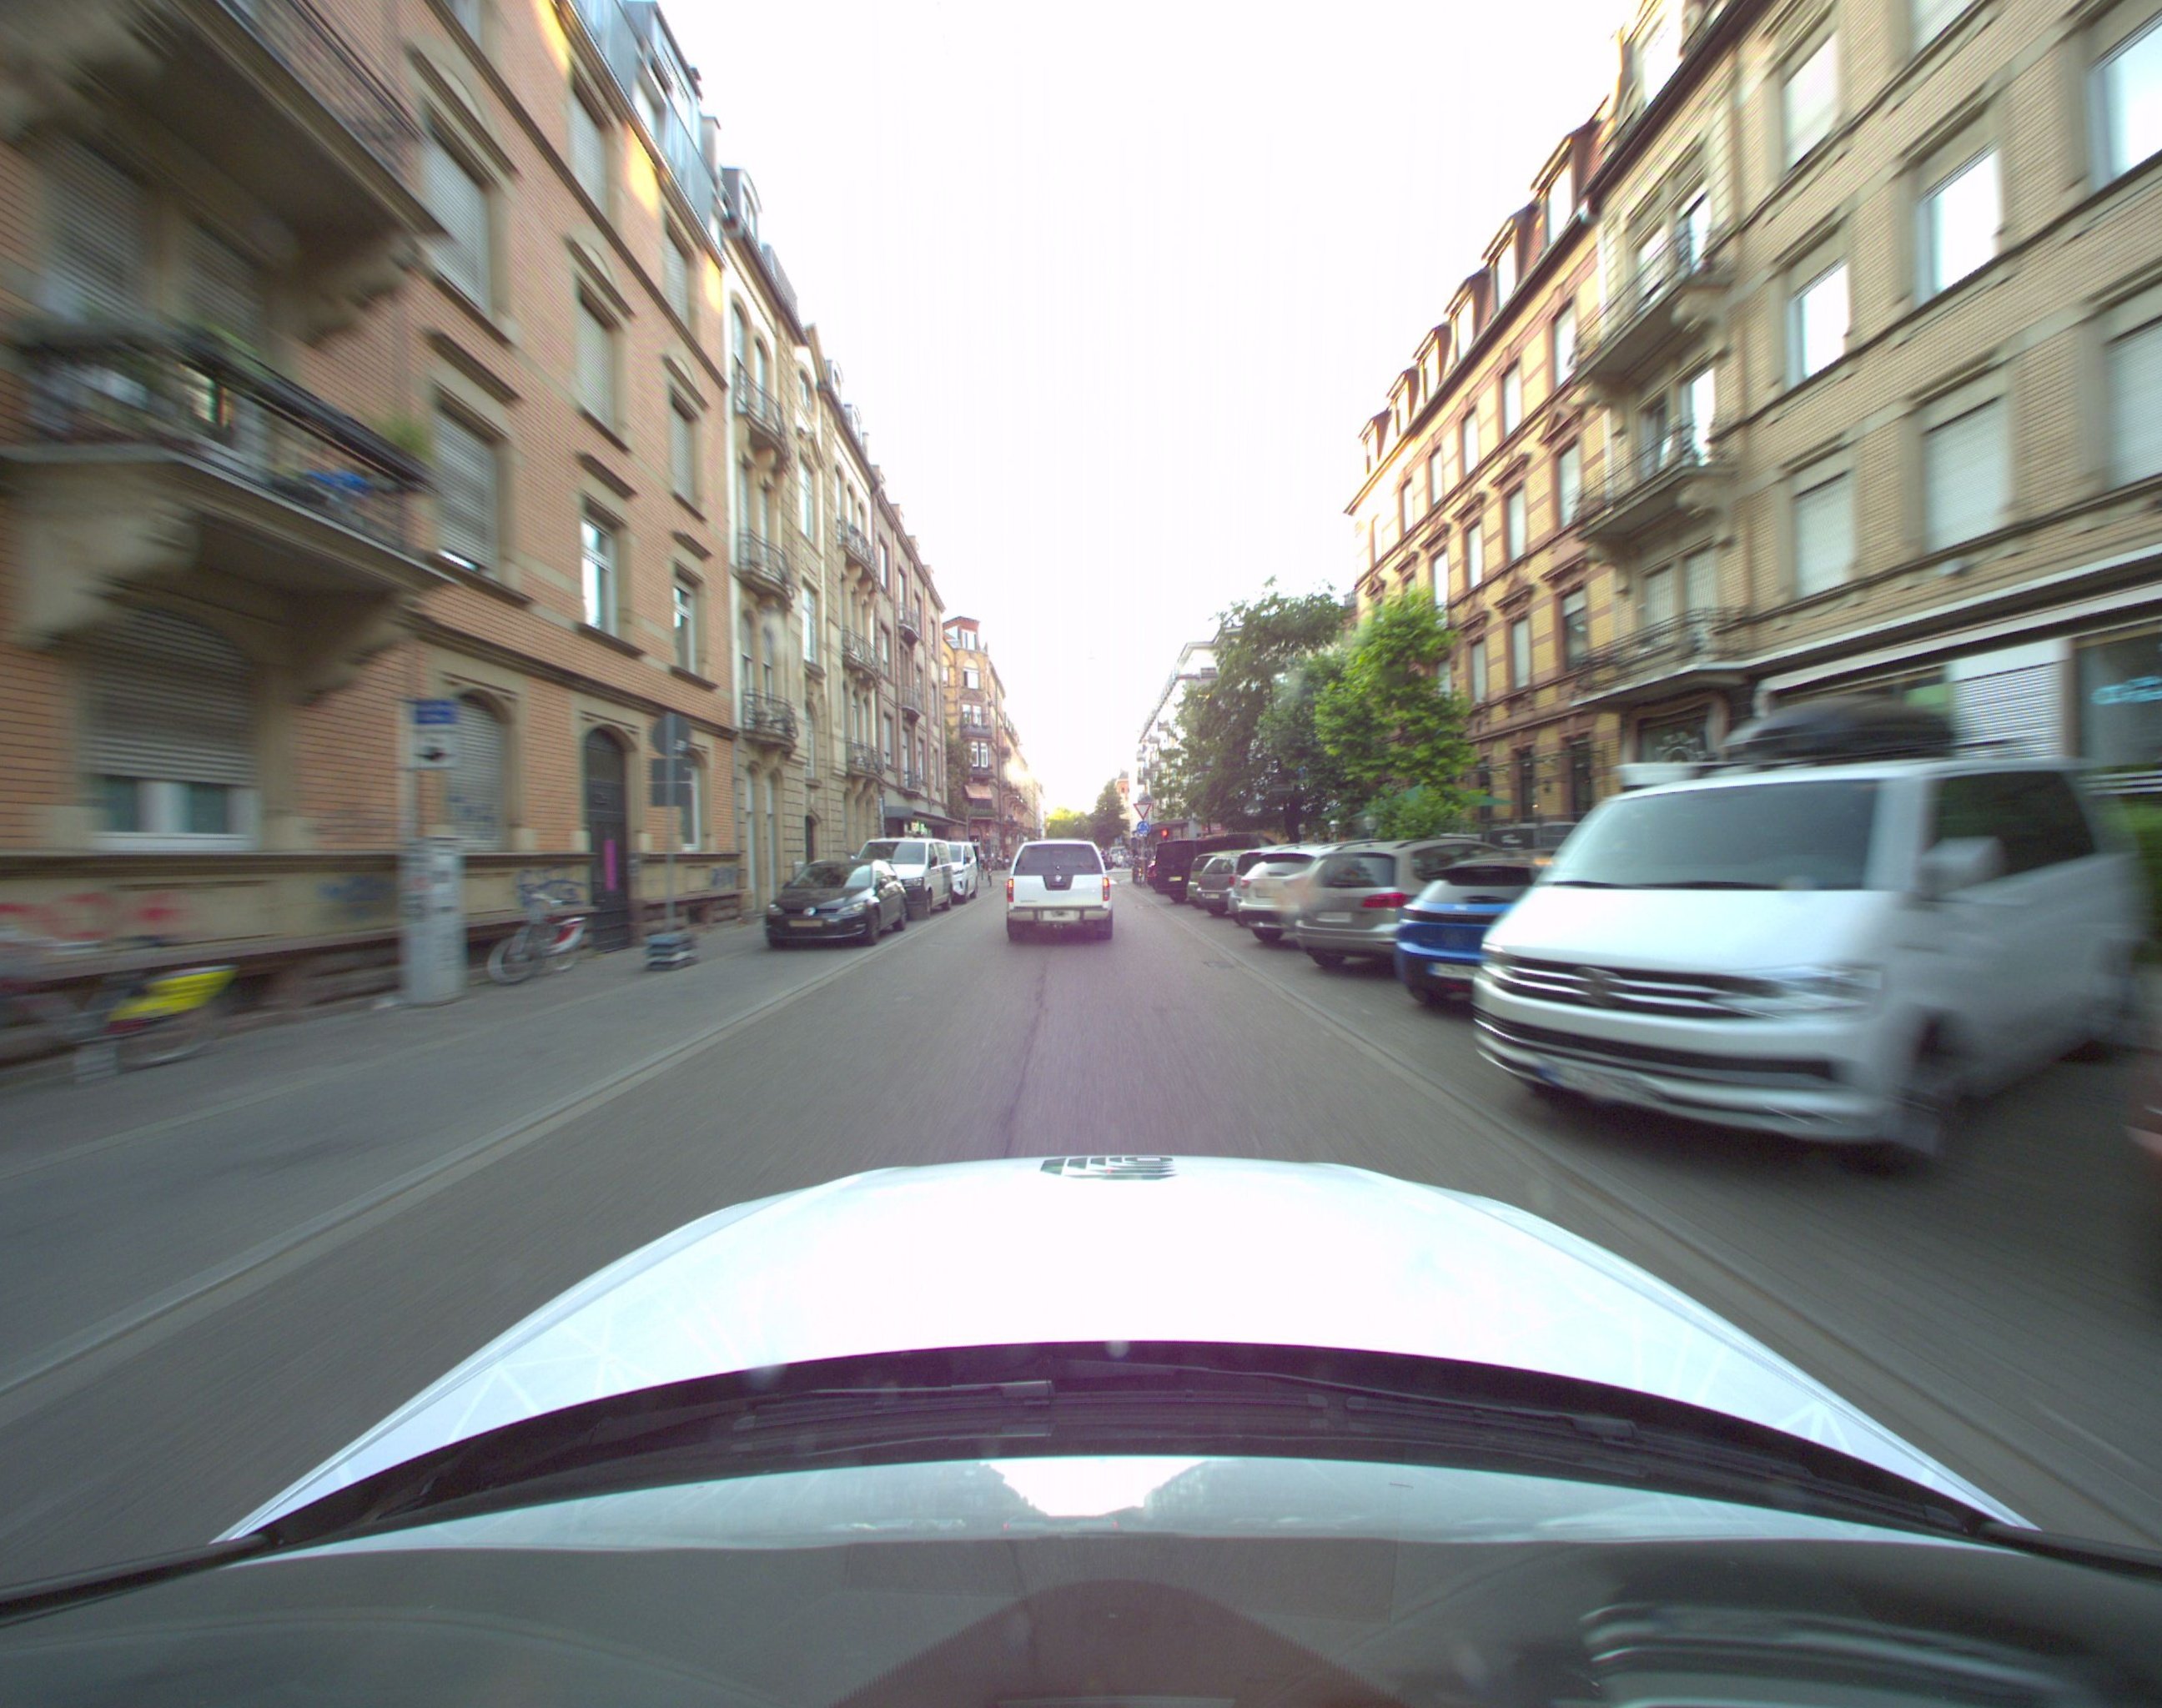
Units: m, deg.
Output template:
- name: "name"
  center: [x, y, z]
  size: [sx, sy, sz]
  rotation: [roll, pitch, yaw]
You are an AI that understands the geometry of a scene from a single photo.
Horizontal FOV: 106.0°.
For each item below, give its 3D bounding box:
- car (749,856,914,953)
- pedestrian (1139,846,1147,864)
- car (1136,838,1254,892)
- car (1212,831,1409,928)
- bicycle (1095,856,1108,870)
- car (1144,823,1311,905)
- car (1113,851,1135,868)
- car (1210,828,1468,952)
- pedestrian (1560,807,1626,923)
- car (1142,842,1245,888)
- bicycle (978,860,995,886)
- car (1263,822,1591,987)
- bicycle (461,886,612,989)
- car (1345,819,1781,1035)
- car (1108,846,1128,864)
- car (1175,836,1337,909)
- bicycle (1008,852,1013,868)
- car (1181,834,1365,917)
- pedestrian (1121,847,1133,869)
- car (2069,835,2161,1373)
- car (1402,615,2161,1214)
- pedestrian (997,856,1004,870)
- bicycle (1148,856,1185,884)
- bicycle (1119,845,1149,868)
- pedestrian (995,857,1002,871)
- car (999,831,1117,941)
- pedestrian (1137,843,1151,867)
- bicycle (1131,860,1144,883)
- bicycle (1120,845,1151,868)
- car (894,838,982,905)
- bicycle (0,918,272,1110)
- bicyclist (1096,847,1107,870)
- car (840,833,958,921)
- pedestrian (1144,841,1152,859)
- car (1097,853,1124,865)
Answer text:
- name: "car"
  center: [-4.317, 0.786, 14.801]
  size: [1.832, 1.471, 4.169]
  rotation: [-1, 0, -2]
- name: "pedestrian"
  center: [5.767, 0.069, 75.532]
  size: [0.717, 1.663, 0.702]
  rotation: [0, -1, -1]
- name: "car"
  center: [4.322, 0.387, 30.554]
  size: [4.246, 1.688, 1.911]
  rotation: [-5, 1, -39]
- name: "car"
  center: [4.829, 0.460, 16.895]
  size: [4.130, 1.590, 1.797]
  rotation: [-5, 1, -39]
- name: "bicycle"
  center: [1.725, 0.790, 69.583]
  size: [0.837, 1.171, 1.931]
  rotation: [0, -1, -7]
- name: "car"
  center: [4.650, 0.239, 25.293]
  size: [5.465, 2.072, 1.911]
  rotation: [-5, 1, -39]
- name: "car"
  center: [4.132, 0.516, 78.241]
  size: [1.829, 1.542, 3.998]
  rotation: [0, -1, -1]
- name: "car"
  center: [4.381, 0.512, 13.676]
  size: [4.124, 1.590, 1.800]
  rotation: [-5, 1, -32]
- name: "pedestrian"
  center: [7.591, 0.163, 12.101]
  size: [0.619, 1.681, 0.657]
  rotation: [0, -1, 11]
- name: "car"
  center: [4.715, 0.431, 33.898]
  size: [4.064, 1.627, 1.676]
  rotation: [-4, 2, -33]
- name: "bicycle"
  center: [-4.271, 0.839, 36.985]
  size: [0.469, 1.142, 1.786]
  rotation: [0, -1, 3]
- name: "car"
  center: [4.634, 0.519, 10.761]
  size: [4.181, 1.590, 1.867]
  rotation: [-5, 2, -32]
- name: "bicycle"
  center: [-6.816, 0.996, 10.339]
  size: [0.749, 1.101, 2.020]
  rotation: [0, -1, -7]
- name: "car"
  center: [4.850, 0.525, 8.102]
  size: [4.179, 1.590, 1.868]
  rotation: [-2, 0, -29]
- name: "car"
  center: [3.939, 0.138, 87.020]
  size: [1.937, 1.934, 3.998]
  rotation: [0, -1, -1]
- name: "car"
  center: [4.761, 0.450, 21.957]
  size: [4.124, 1.551, 1.800]
  rotation: [-5, 1, -32]
- name: "bicycle"
  center: [-6.479, 0.573, 75.015]
  size: [0.423, 1.442, 1.901]
  rotation: [0, -1, -5]
- name: "car"
  center: [4.573, 0.454, 19.274]
  size: [4.124, 1.551, 1.800]
  rotation: [-5, 1, -32]
- name: "pedestrian"
  center: [3.669, 0.319, 65.060]
  size: [0.903, 1.736, 0.614]
  rotation: [0, -1, -8]
- name: "car"
  center: [4.948, 0.618, 2.674]
  size: [3.883, 1.408, 1.740]
  rotation: [-3, -1, -34]
- name: "car"
  center: [4.649, 0.154, 5.225]
  size: [4.950, 2.362, 1.982]
  rotation: [-2, 0, -27]
- name: "pedestrian"
  center: [-7.272, 0.831, 73.373]
  size: [0.647, 1.286, 0.539]
  rotation: [0, -1, -5]
- name: "bicycle"
  center: [3.714, 0.685, 35.322]
  size: [1.550, 1.161, 0.363]
  rotation: [-3, 0, -15]
- name: "bicycle"
  center: [4.661, 0.217, 71.592]
  size: [2.638, 2.014, 0.638]
  rotation: [0, -1, 0]
- name: "pedestrian"
  center: [-7.293, 0.868, 72.187]
  size: [0.647, 1.191, 0.539]
  rotation: [0, -1, -5]
- name: "car"
  center: [-0.273, 0.551, 15.914]
  size: [1.930, 1.810, 5.004]
  rotation: [0, -1, 2]
- name: "pedestrian"
  center: [5.038, 0.055, 65.053]
  size: [0.909, 1.885, 0.610]
  rotation: [0, -1, -32]
- name: "bicycle"
  center: [2.574, 0.794, 37.246]
  size: [0.363, 1.063, 1.550]
  rotation: [0, -1, -4]
- name: "bicycle"
  center: [4.706, 0.210, 70.778]
  size: [2.638, 2.014, 0.638]
  rotation: [0, -1, 0]
- name: "car"
  center: [-4.553, 0.518, 26.735]
  size: [2.104, 1.921, 5.022]
  rotation: [-1, 0, -2]
- name: "bicycle"
  center: [-6.643, 1.015, 5.575]
  size: [0.446, 1.030, 1.740]
  rotation: [0, -1, 1]
- name: "bicyclist"
  center: [1.731, 0.403, 69.531]
  size: [0.837, 1.944, 0.783]
  rotation: [0, -1, -7]
- name: "car"
  center: [-4.437, 0.508, 20.621]
  size: [1.831, 1.921, 4.845]
  rotation: [-1, 0, 0]
- name: "pedestrian"
  center: [7.147, -0.429, 86.998]
  size: [0.717, 1.906, 0.702]
  rotation: [0, -1, -1]
- name: "car"
  center: [4.345, 0.751, 120.590]
  size: [3.976, 1.750, 1.839]
  rotation: [0, -1, -2]
